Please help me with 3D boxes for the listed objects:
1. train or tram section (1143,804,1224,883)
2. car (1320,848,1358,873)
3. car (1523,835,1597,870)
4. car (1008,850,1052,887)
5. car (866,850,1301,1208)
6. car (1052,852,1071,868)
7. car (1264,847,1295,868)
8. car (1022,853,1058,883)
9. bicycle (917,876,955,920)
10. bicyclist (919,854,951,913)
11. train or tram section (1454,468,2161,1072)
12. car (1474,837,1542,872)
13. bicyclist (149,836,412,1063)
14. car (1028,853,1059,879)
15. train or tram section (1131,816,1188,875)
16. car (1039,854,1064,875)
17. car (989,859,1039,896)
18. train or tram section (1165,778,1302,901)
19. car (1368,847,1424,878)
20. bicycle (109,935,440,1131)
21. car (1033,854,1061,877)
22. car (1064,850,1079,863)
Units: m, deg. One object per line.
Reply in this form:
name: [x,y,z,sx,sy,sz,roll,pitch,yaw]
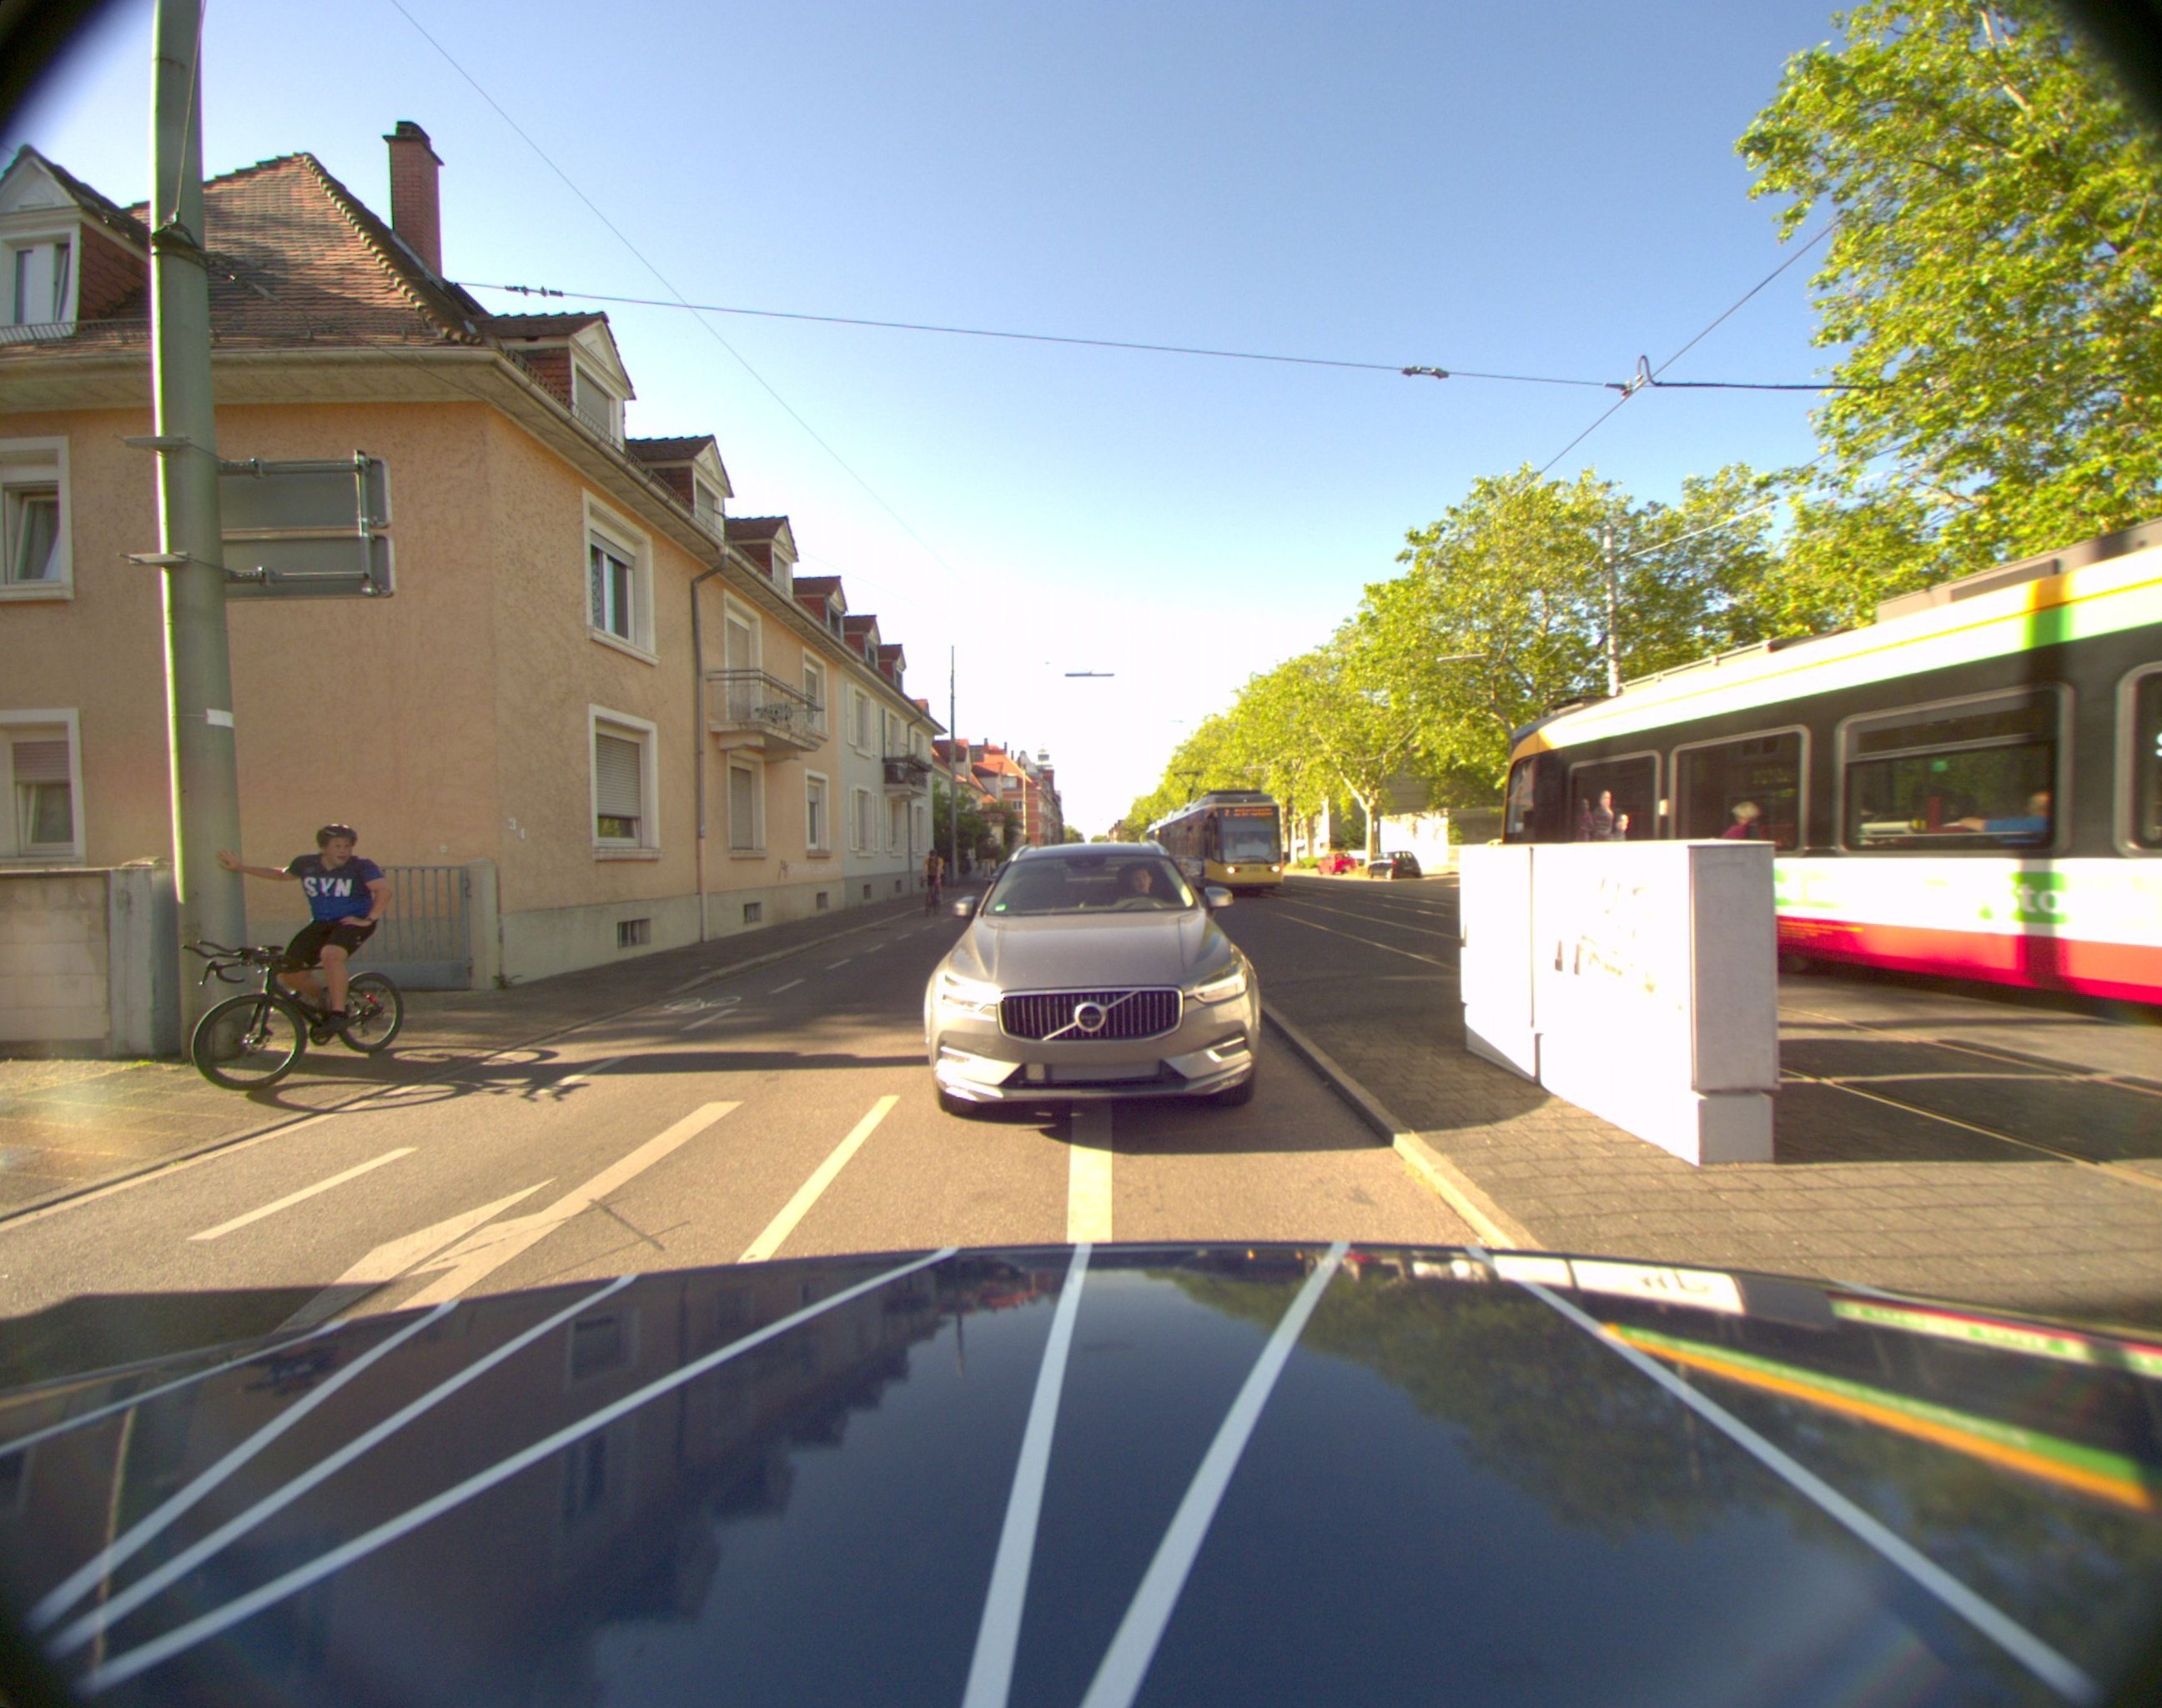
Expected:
train or tram section: [5.310,-0.514,41.751,2.717,3.643,12.653,-1,0,0]
car: [16.887,0.432,49.873,1.599,1.498,2.622,-3,0,1]
car: [23.889,-0.086,38.032,1.599,1.583,3.304,-2,0,1]
car: [-2.814,0.745,42.827,1.793,1.828,5.149,-3,0,2]
car: [0.040,0.828,5.760,1.998,1.628,4.306,-2,0,1]
car: [-2.141,0.640,85.376,1.793,1.673,3.814,-3,0,2]
car: [17.147,0.272,65.896,1.695,1.648,3.749,-3,0,1]
car: [-2.575,0.857,48.492,1.793,1.673,3.814,-3,0,2]
bicycle: [-4.121,1.225,21.719,0.685,1.098,1.806,-2,1,1]
bicyclist: [-4.142,0.815,21.627,0.685,1.611,0.855,-2,1,1]
train or tram section: [8.177,-0.555,6.501,2.940,3.791,13.049,-1,0,-3]
car: [21.556,0.010,38.480,1.599,1.606,3.304,-2,0,1]
bicyclist: [-6.228,0.697,5.983,1.051,1.599,0.885,4,0,1]
car: [-2.622,0.839,54.012,1.793,1.673,3.814,-3,0,2]
train or tram section: [5.389,-0.552,54.401,2.717,3.643,12.653,-1,0,0]
car: [-2.541,0.864,67.082,1.793,1.673,3.814,-3,0,2]
car: [-3.213,1.087,37.054,1.695,1.571,3.815,-3,0,5]
train or tram section: [5.256,-0.464,29.095,2.717,3.643,12.653,-1,0,0]
car: [16.895,0.424,40.902,1.599,1.498,3.304,-3,0,1]
bicycle: [-6.034,1.266,5.865,0.592,1.062,1.775,4,0,1]
car: [-2.710,0.890,61.037,1.793,1.673,3.814,-3,0,2]
car: [-1.283,0.370,107.110,1.793,1.673,3.814,-3,0,2]
